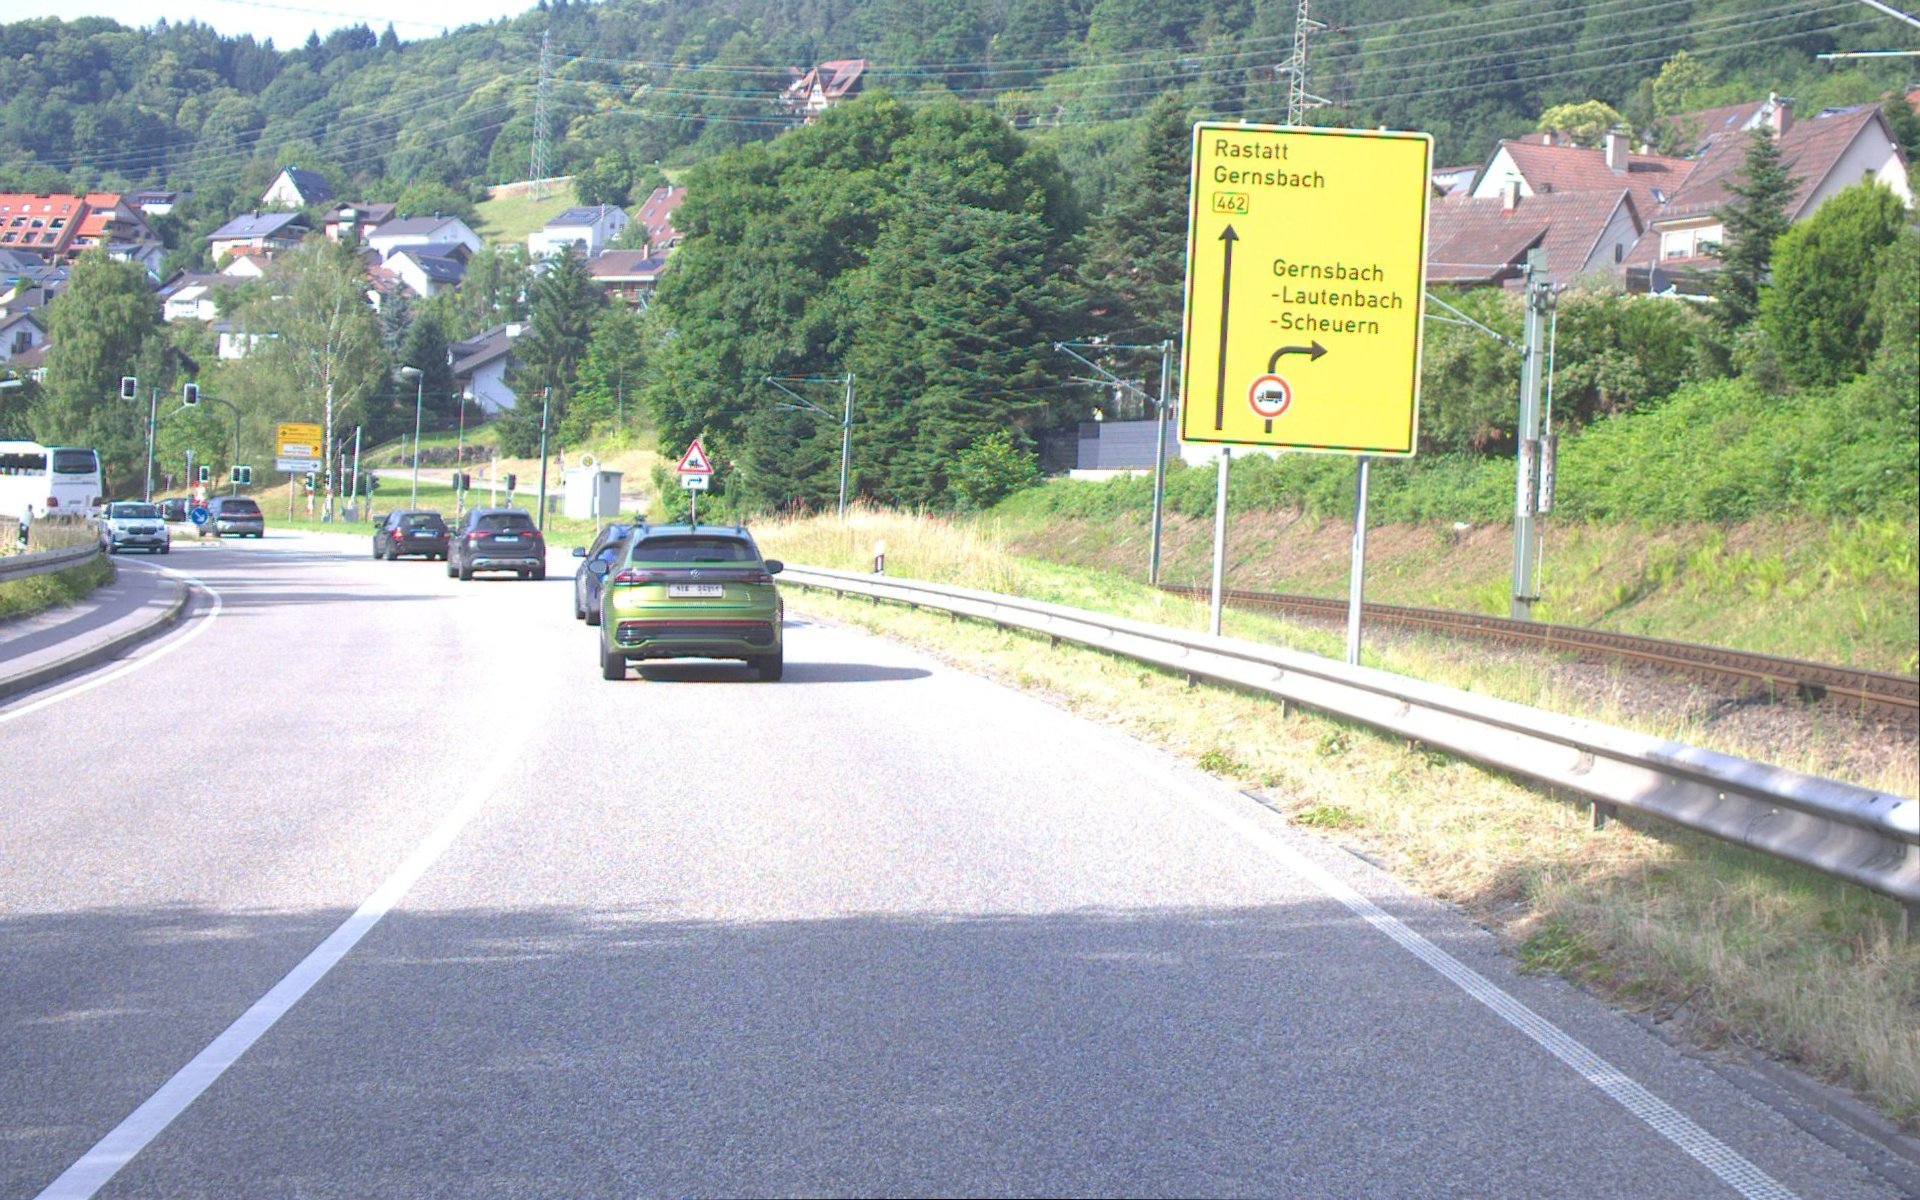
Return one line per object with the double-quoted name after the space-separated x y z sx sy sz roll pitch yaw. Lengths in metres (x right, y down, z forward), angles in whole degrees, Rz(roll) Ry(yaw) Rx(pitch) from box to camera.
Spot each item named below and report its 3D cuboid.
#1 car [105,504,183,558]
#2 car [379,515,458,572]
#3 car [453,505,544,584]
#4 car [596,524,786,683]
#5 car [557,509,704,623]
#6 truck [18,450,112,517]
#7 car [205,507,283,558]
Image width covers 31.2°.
-25.633 -2.173 107.927 1.993 1.624 4.001 0 1 -19 "car"
-15.505 -1.637 98.312 1.848 1.521 3.664 2 1 -14 "car"
-10.568 -1.276 78.537 1.879 1.681 4.001 3 1 -9 "car"
-2.719 -0.009 34.063 1.714 1.450 4.001 -1 1 -7 "car"
-4.743 -0.520 49.116 1.666 1.554 4.001 0 1 -12 "car"
-42.208 -5.511 162.006 2.712 3.073 6.109 -1 3 -30 "truck"
-28.014 -2.631 134.473 2.062 1.805 4.001 4 -1 -24 "car"
